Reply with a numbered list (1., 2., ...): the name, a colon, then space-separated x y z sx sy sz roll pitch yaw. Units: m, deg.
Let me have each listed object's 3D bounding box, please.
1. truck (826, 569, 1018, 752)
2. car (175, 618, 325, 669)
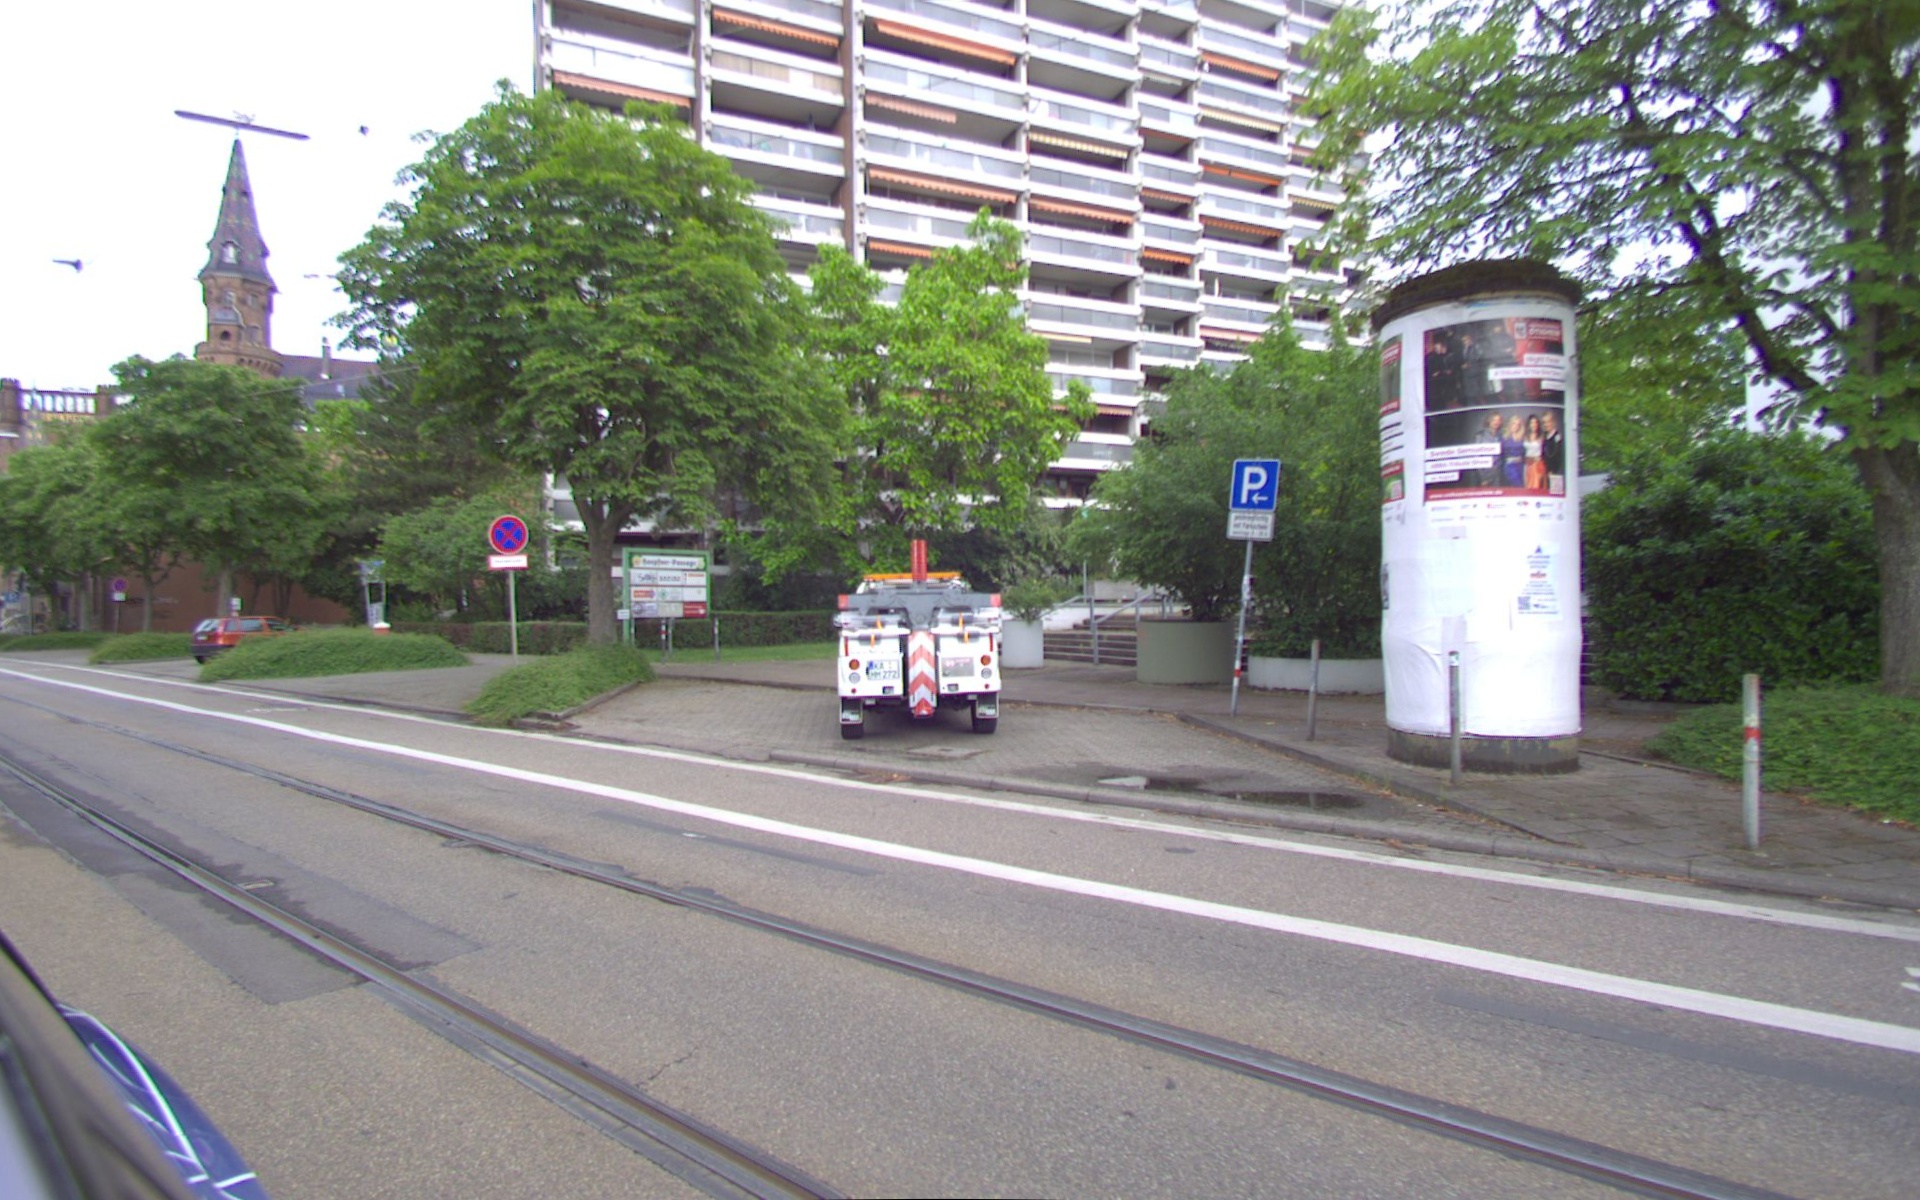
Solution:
1. truck: -0.619 0.641 13.112 1.969 1.862 5.070 -1 0 -5
2. car: -21.923 1.304 31.369 1.626 1.387 3.473 0 0 26
